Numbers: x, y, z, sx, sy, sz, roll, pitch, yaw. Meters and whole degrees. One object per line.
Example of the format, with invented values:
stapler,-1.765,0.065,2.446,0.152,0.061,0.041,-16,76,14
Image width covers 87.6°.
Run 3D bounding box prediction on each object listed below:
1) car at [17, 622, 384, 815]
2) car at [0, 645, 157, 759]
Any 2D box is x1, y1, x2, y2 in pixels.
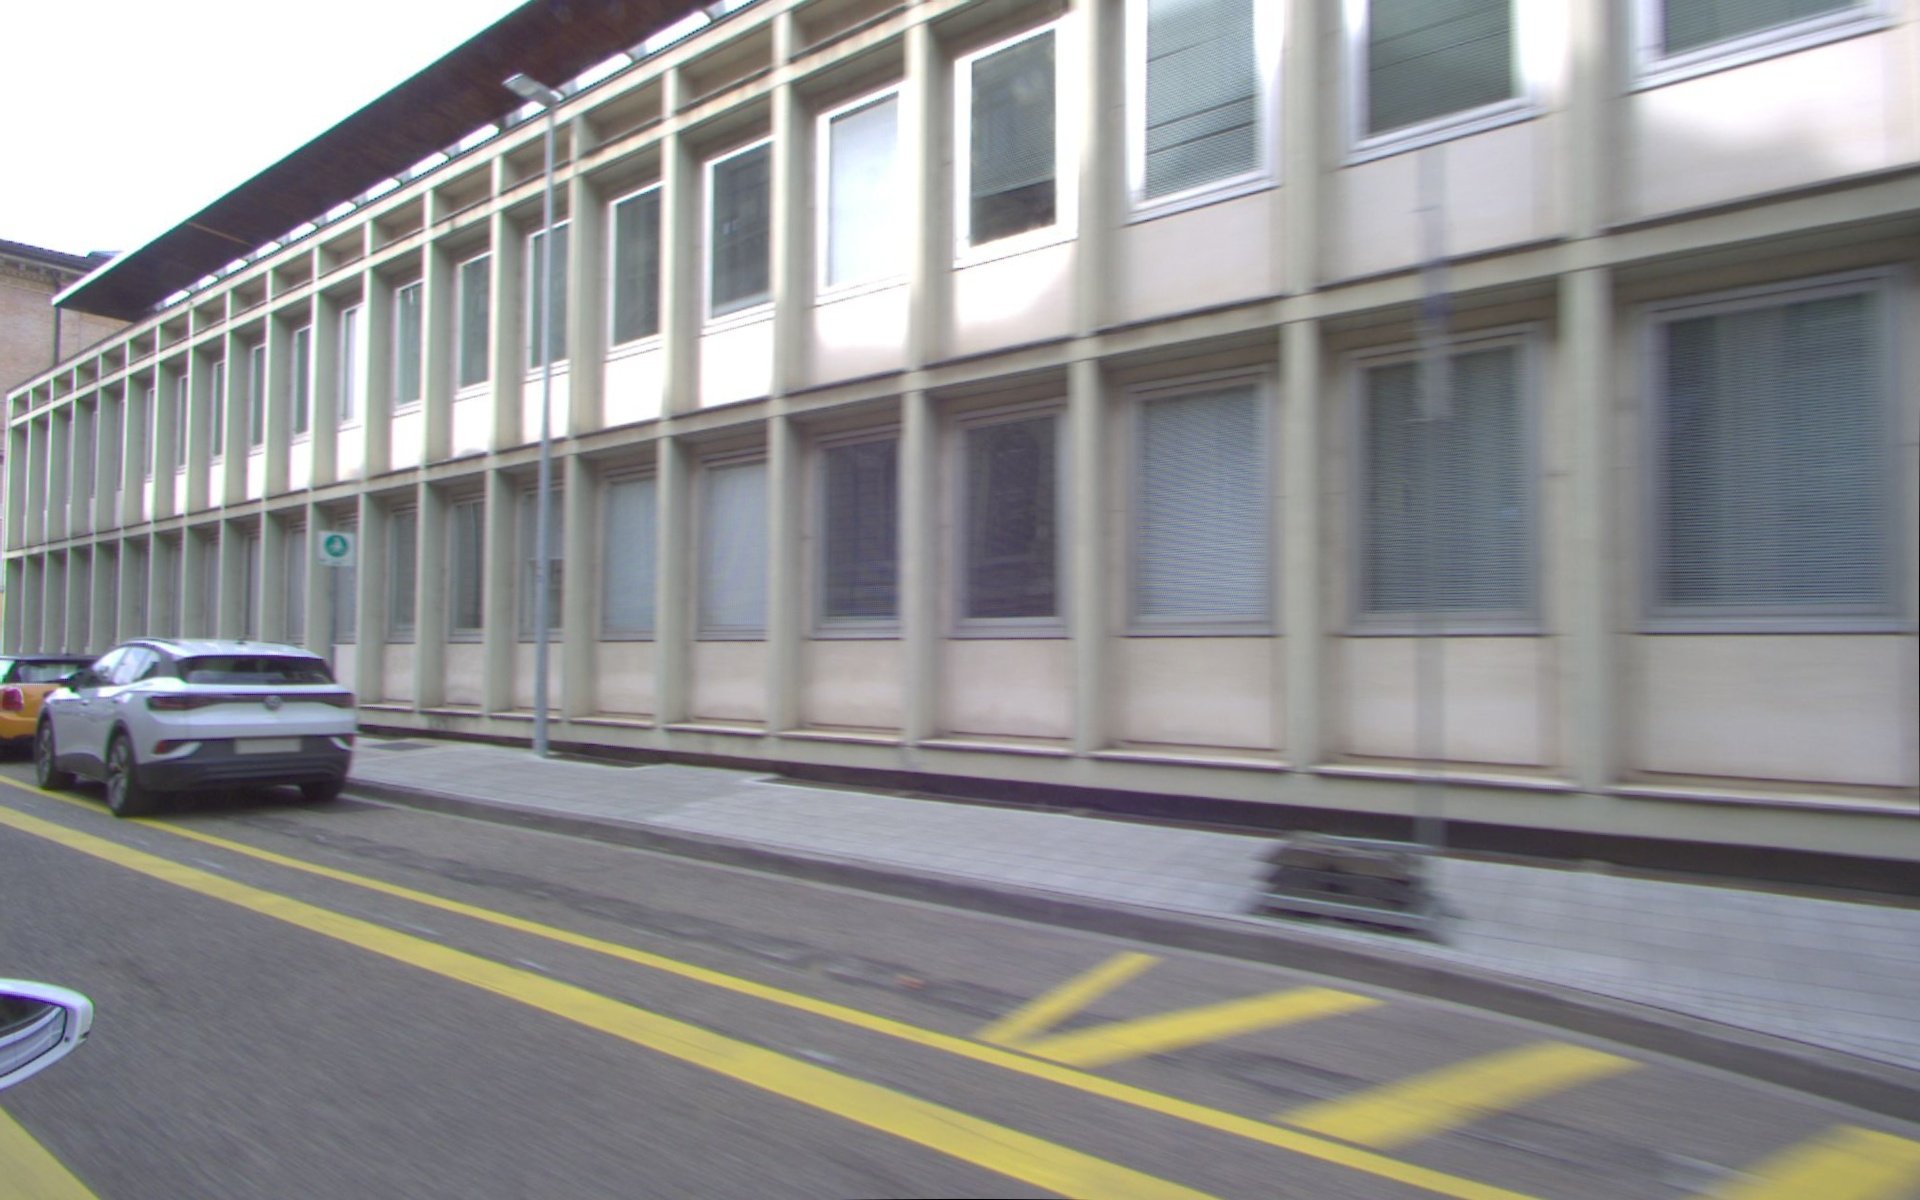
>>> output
car,-8.124,1.160,10.581,4.455,1.623,1.856,-2,-7,37
car,-13.311,1.405,14.512,3.837,1.452,1.676,-2,-4,37
